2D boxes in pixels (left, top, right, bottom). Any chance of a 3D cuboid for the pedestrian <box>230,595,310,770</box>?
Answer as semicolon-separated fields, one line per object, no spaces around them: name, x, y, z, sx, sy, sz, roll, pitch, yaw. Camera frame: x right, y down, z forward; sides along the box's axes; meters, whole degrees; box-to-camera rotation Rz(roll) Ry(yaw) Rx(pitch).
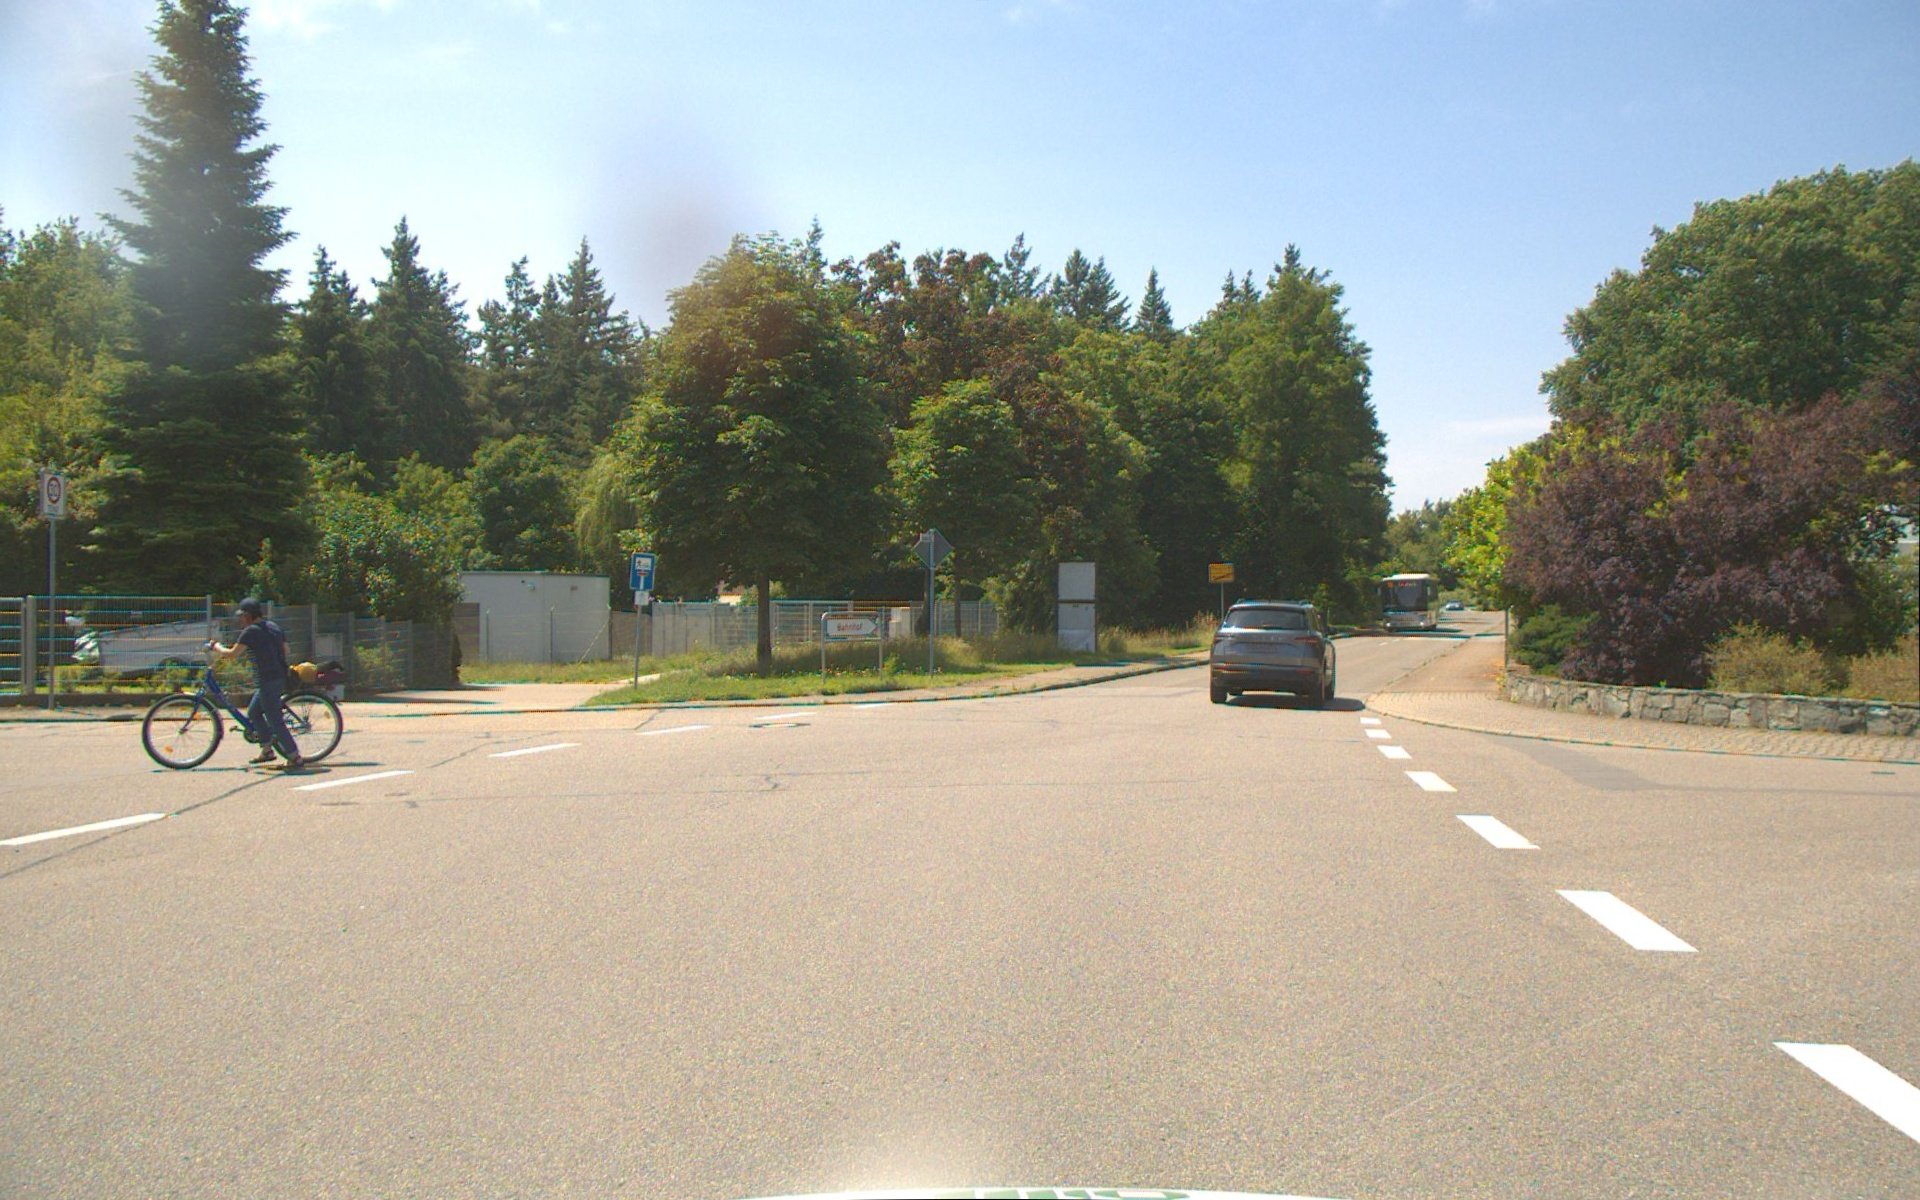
pedestrian;-6.157;0.716;14.759;0.603;1.527;0.499;0;0;-31

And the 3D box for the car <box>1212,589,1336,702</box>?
car;5.128;0.691;26.676;1.725;1.646;4.003;1;0;14

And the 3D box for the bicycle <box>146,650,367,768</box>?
bicycle;-6.423;0.972;15.140;1.824;0.980;0.438;0;0;-32

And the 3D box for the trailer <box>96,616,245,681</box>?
trailer;-13.880;0.838;29.139;2.178;1.103;1.102;0;0;-14

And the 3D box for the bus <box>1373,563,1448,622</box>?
bus;27.231;-0.435;99.579;3.116;3.301;12.712;0;0;21
